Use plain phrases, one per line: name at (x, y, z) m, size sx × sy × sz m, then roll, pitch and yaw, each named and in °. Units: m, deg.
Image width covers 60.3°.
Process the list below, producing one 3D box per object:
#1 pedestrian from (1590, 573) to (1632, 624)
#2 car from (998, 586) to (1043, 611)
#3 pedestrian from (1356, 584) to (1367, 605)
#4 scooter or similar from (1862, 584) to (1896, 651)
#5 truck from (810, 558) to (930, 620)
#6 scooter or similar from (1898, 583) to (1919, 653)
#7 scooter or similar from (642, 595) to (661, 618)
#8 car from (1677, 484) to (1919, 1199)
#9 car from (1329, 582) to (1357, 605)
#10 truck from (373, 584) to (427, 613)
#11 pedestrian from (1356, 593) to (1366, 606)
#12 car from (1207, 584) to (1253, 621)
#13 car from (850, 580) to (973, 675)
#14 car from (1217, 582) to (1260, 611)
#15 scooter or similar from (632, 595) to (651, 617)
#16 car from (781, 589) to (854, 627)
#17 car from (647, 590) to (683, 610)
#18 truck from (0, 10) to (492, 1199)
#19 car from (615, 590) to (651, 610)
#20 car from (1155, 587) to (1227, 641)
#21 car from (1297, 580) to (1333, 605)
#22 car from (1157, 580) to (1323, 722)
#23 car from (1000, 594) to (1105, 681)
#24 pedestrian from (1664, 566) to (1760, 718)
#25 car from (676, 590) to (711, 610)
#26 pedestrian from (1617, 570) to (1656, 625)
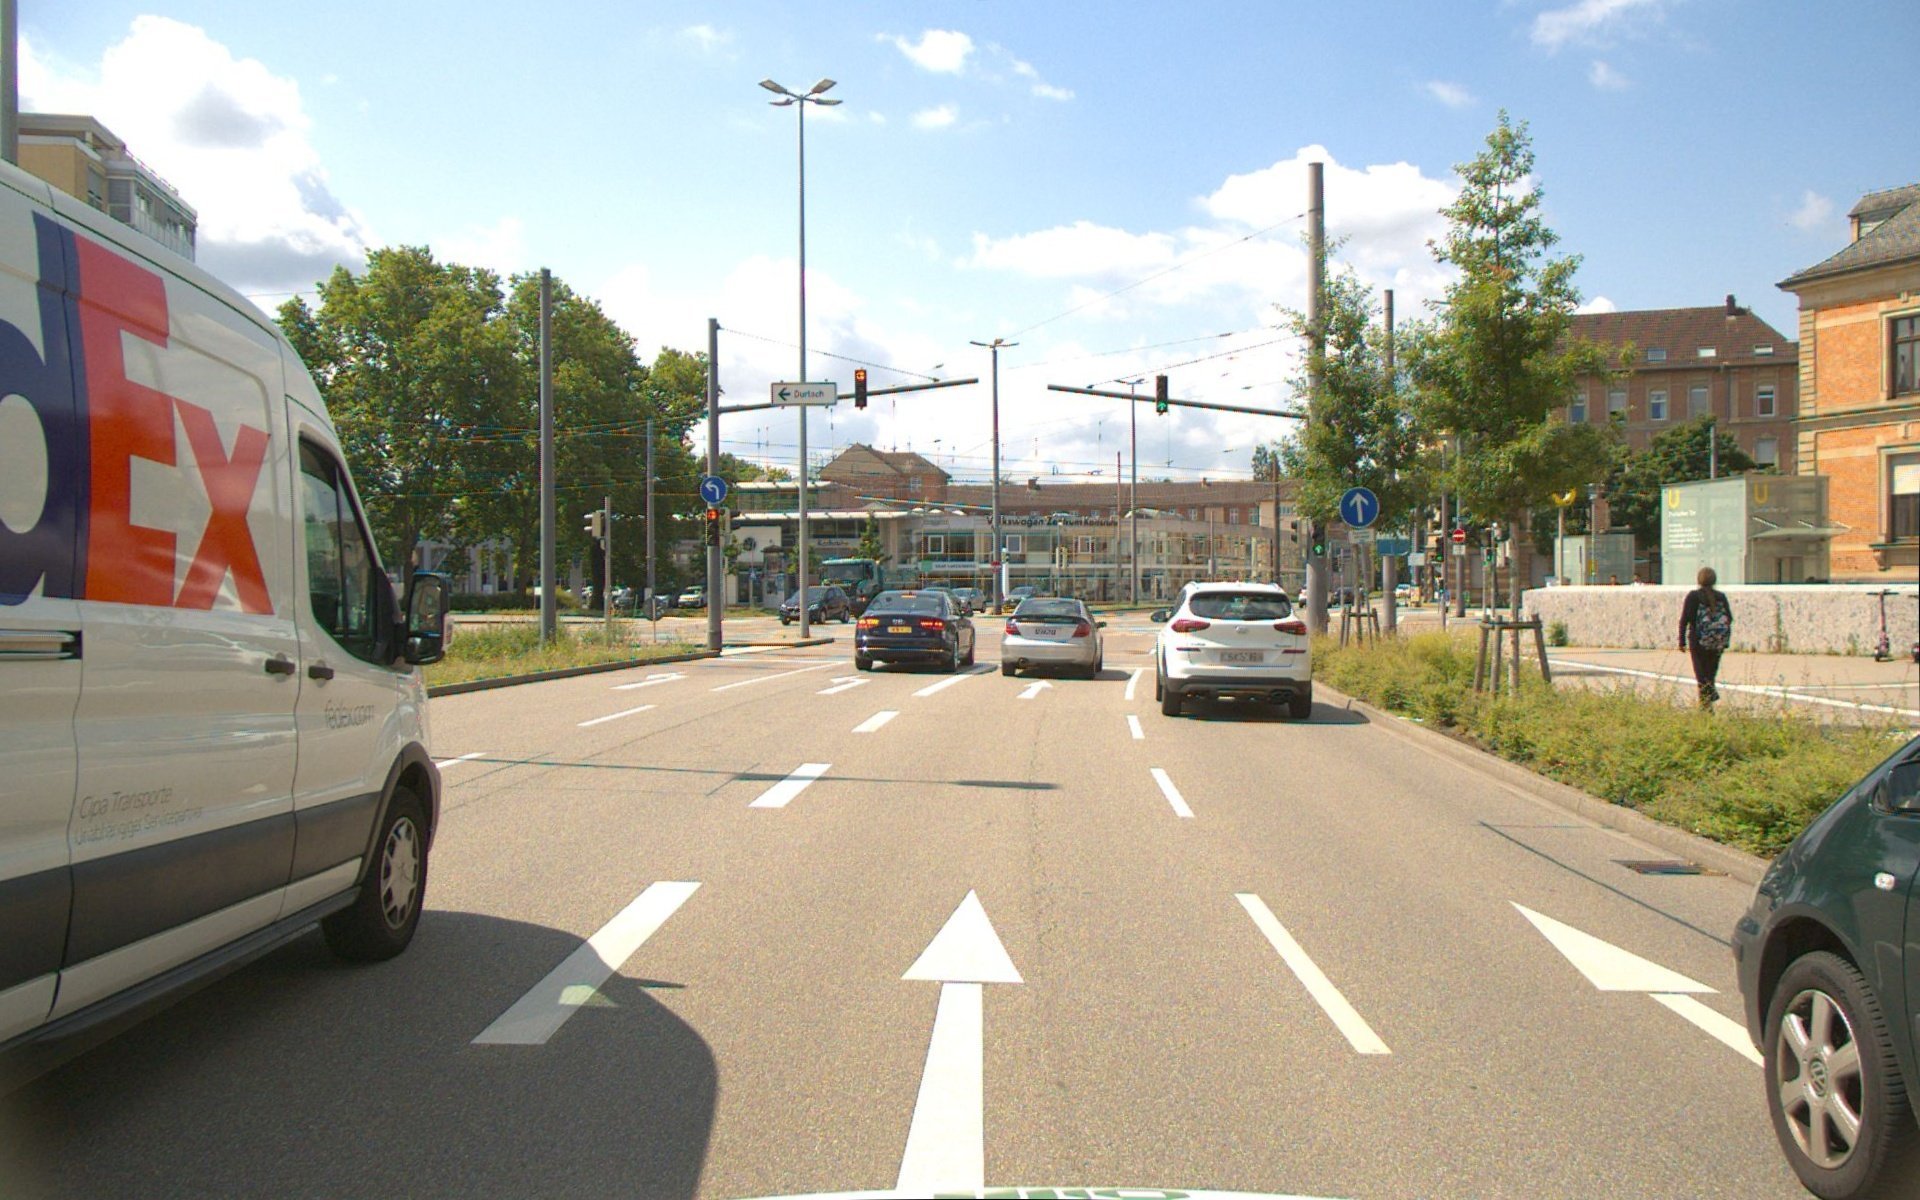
pedestrian at (22.137, -0.047, 56.277) m, size 0.953 × 1.686 × 0.856 m, roll -2°, pitch -1°, yaw -28°
car at (3.853, -0.116, 104.531) m, size 1.682 × 1.558 × 4.122 m, roll 0°, pitch 1°, yaw 20°
pedestrian at (28.042, -0.377, 115.528) m, size 0.678 × 1.483 × 0.680 m, roll 0°, pitch -1°, yaw 20°
scooter or similar at (16.318, 0.300, 29.353) m, size 0.227 × 1.143 × 1.275 m, roll 0°, pitch 2°, yaw 42°
truck at (-4.387, -0.569, 83.290) m, size 2.825 × 2.902 × 8.795 m, roll 0°, pitch 1°, yaw 20°
scooter or similar at (16.435, 0.296, 28.436) m, size 0.227 × 1.143 × 1.444 m, roll 0°, pitch 2°, yaw 42°
scooter or similar at (-15.698, 0.321, 84.194) m, size 0.370 × 1.135 × 1.094 m, roll 0°, pitch -1°, yaw 24°
car at (3.110, 0.631, 2.873) m, size 1.757 × 1.753 × 4.448 m, roll 2°, pitch 0°, yaw 0°
car at (29.267, -0.508, 126.298) m, size 1.841 × 1.670 × 3.960 m, roll 0°, pitch 1°, yaw 16°
truck at (-42.853, -0.126, 126.658) m, size 1.765 × 2.157 × 4.783 m, roll 0°, pitch 0°, yaw 10°
pedestrian at (28.003, -0.020, 115.379) m, size 0.513 × 0.922 × 1.561 m, roll 0°, pitch -1°, yaw 20°
car at (12.675, 0.098, 77.436) m, size 1.841 × 1.670 × 3.960 m, roll 0°, pitch 1°, yaw 14°
car at (-0.835, 0.456, 31.527) m, size 1.887 × 1.670 × 4.795 m, roll 0°, pitch 1°, yaw 4°
car at (15.963, -0.216, 94.725) m, size 1.842 × 1.670 × 3.959 m, roll 0°, pitch 1°, yaw 18°
scooter or similar at (-16.277, 0.317, 84.468) m, size 0.370 × 1.135 × 1.094 m, roll 0°, pitch -1°, yaw 24°
car at (-5.853, 0.315, 68.336) m, size 1.618 × 1.494 × 4.157 m, roll 0°, pitch 1°, yaw 15°
car at (-23.920, 0.022, 134.098) m, size 1.952 × 1.601 × 4.179 m, roll 1°, pitch -1°, yaw 3°
truck at (-3.096, 0.118, 4.640) m, size 2.094 × 2.686 × 5.914 m, roll 1°, pitch 0°, yaw -3°
car at (-26.527, 0.000, 134.242) m, size 1.952 × 1.601 × 4.179 m, roll 1°, pitch -1°, yaw 3°
car at (6.499, 0.360, 46.268) m, size 1.841 × 1.444 × 3.961 m, roll 0°, pitch 1°, yaw 10°
car at (24.317, -0.549, 113.250) m, size 1.842 × 1.670 × 3.958 m, roll 0°, pitch 1°, yaw 21°
car at (3.566, 0.583, 21.706) m, size 1.841 × 1.670 × 4.235 m, roll 0°, pitch 1°, yaw 5°
car at (1.772, 0.642, 30.661) m, size 1.704 × 1.416 × 4.183 m, roll 1°, pitch 1°, yaw 6°
pedestrian at (8.226, 0.451, 18.124) m, size 0.740 × 1.617 × 0.762 m, roll 1°, pitch -1°, yaw 4°
car at (-21.490, 0.019, 133.678) m, size 1.952 × 1.601 × 4.179 m, roll 1°, pitch -1°, yaw 3°
pedestrian at (22.610, -0.075, 55.280) m, size 0.746 × 1.782 × 0.856 m, roll -2°, pitch -1°, yaw -28°
